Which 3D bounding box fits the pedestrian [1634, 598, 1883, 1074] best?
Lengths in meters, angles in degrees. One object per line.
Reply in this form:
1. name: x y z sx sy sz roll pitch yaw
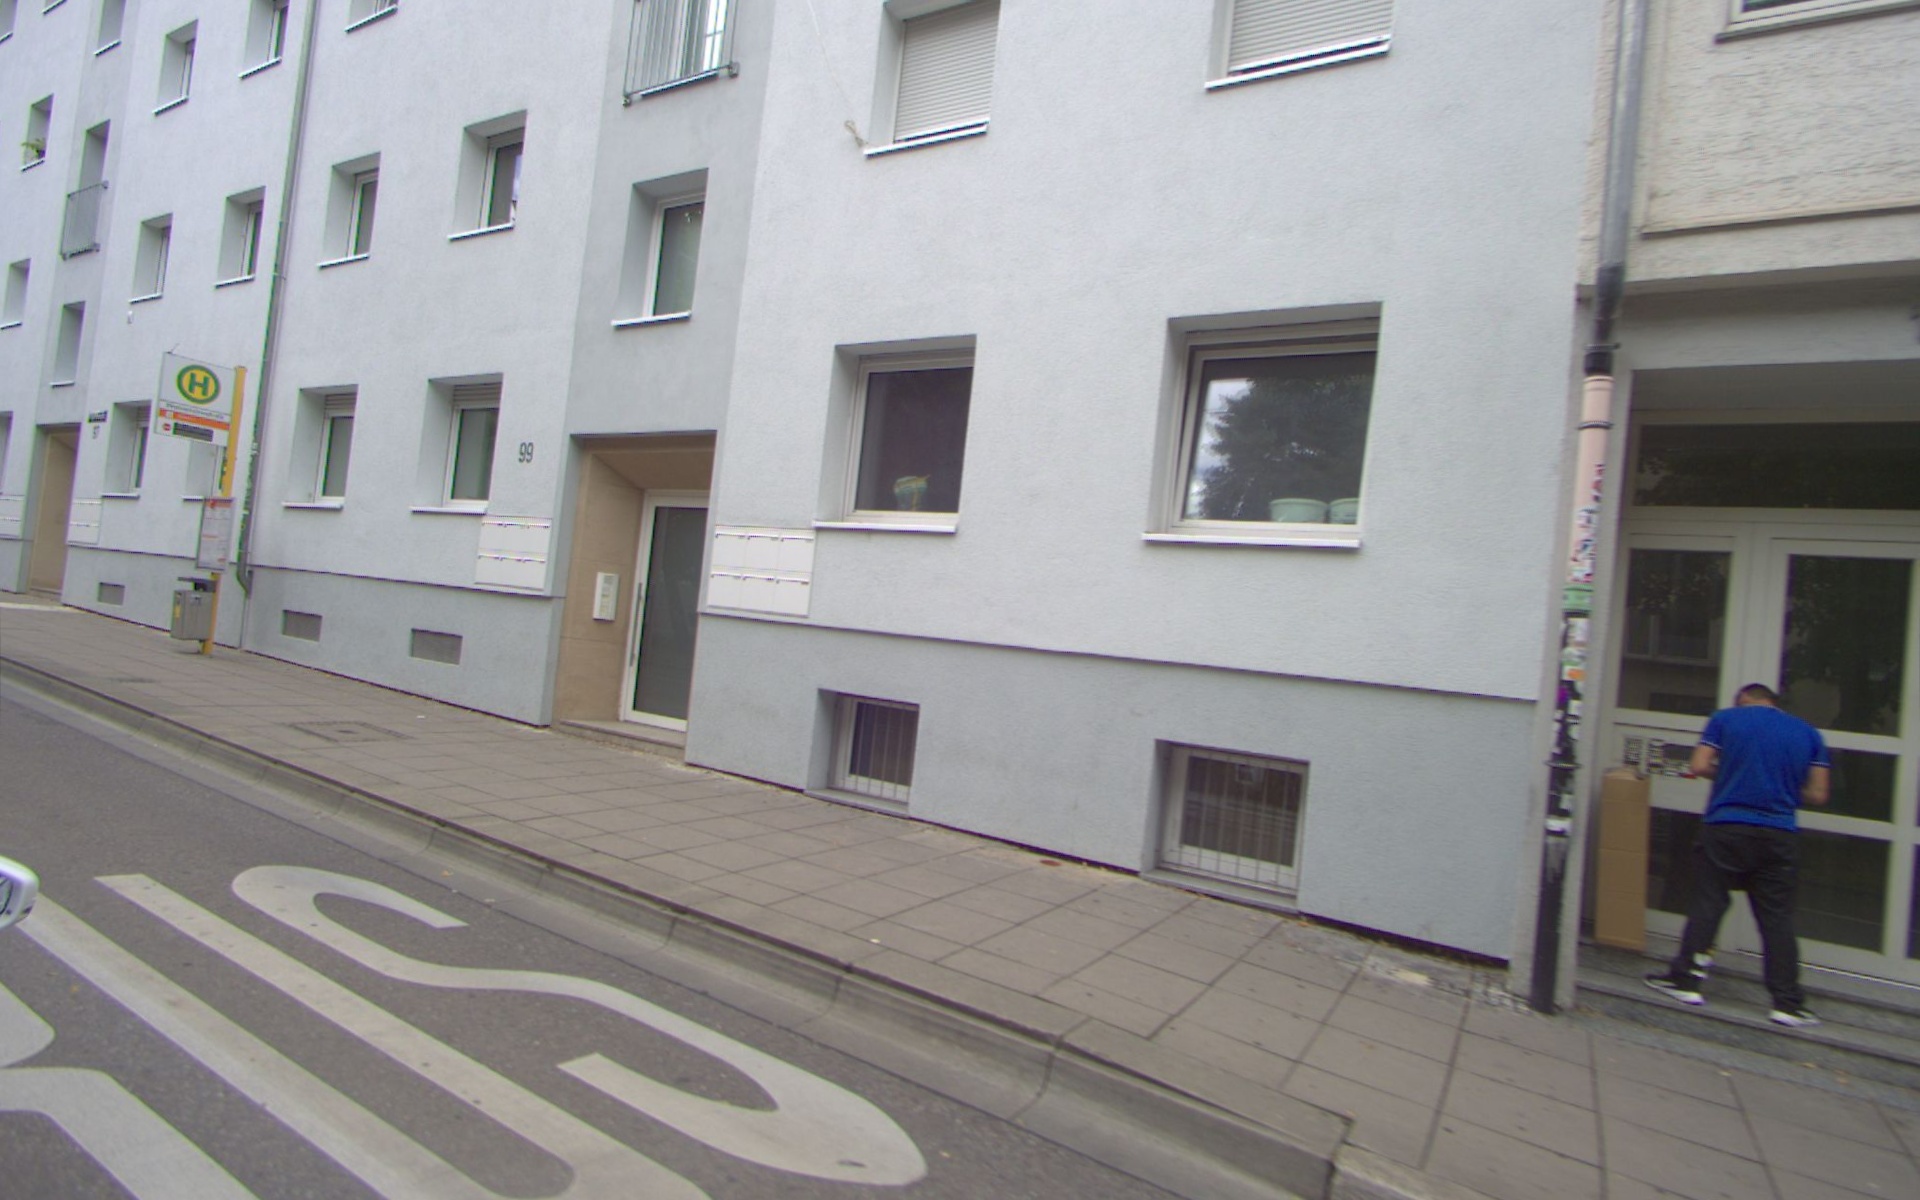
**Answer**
1. pedestrian: 3.808 1.063 4.865 0.674 2.037 0.635 7 -1 31
